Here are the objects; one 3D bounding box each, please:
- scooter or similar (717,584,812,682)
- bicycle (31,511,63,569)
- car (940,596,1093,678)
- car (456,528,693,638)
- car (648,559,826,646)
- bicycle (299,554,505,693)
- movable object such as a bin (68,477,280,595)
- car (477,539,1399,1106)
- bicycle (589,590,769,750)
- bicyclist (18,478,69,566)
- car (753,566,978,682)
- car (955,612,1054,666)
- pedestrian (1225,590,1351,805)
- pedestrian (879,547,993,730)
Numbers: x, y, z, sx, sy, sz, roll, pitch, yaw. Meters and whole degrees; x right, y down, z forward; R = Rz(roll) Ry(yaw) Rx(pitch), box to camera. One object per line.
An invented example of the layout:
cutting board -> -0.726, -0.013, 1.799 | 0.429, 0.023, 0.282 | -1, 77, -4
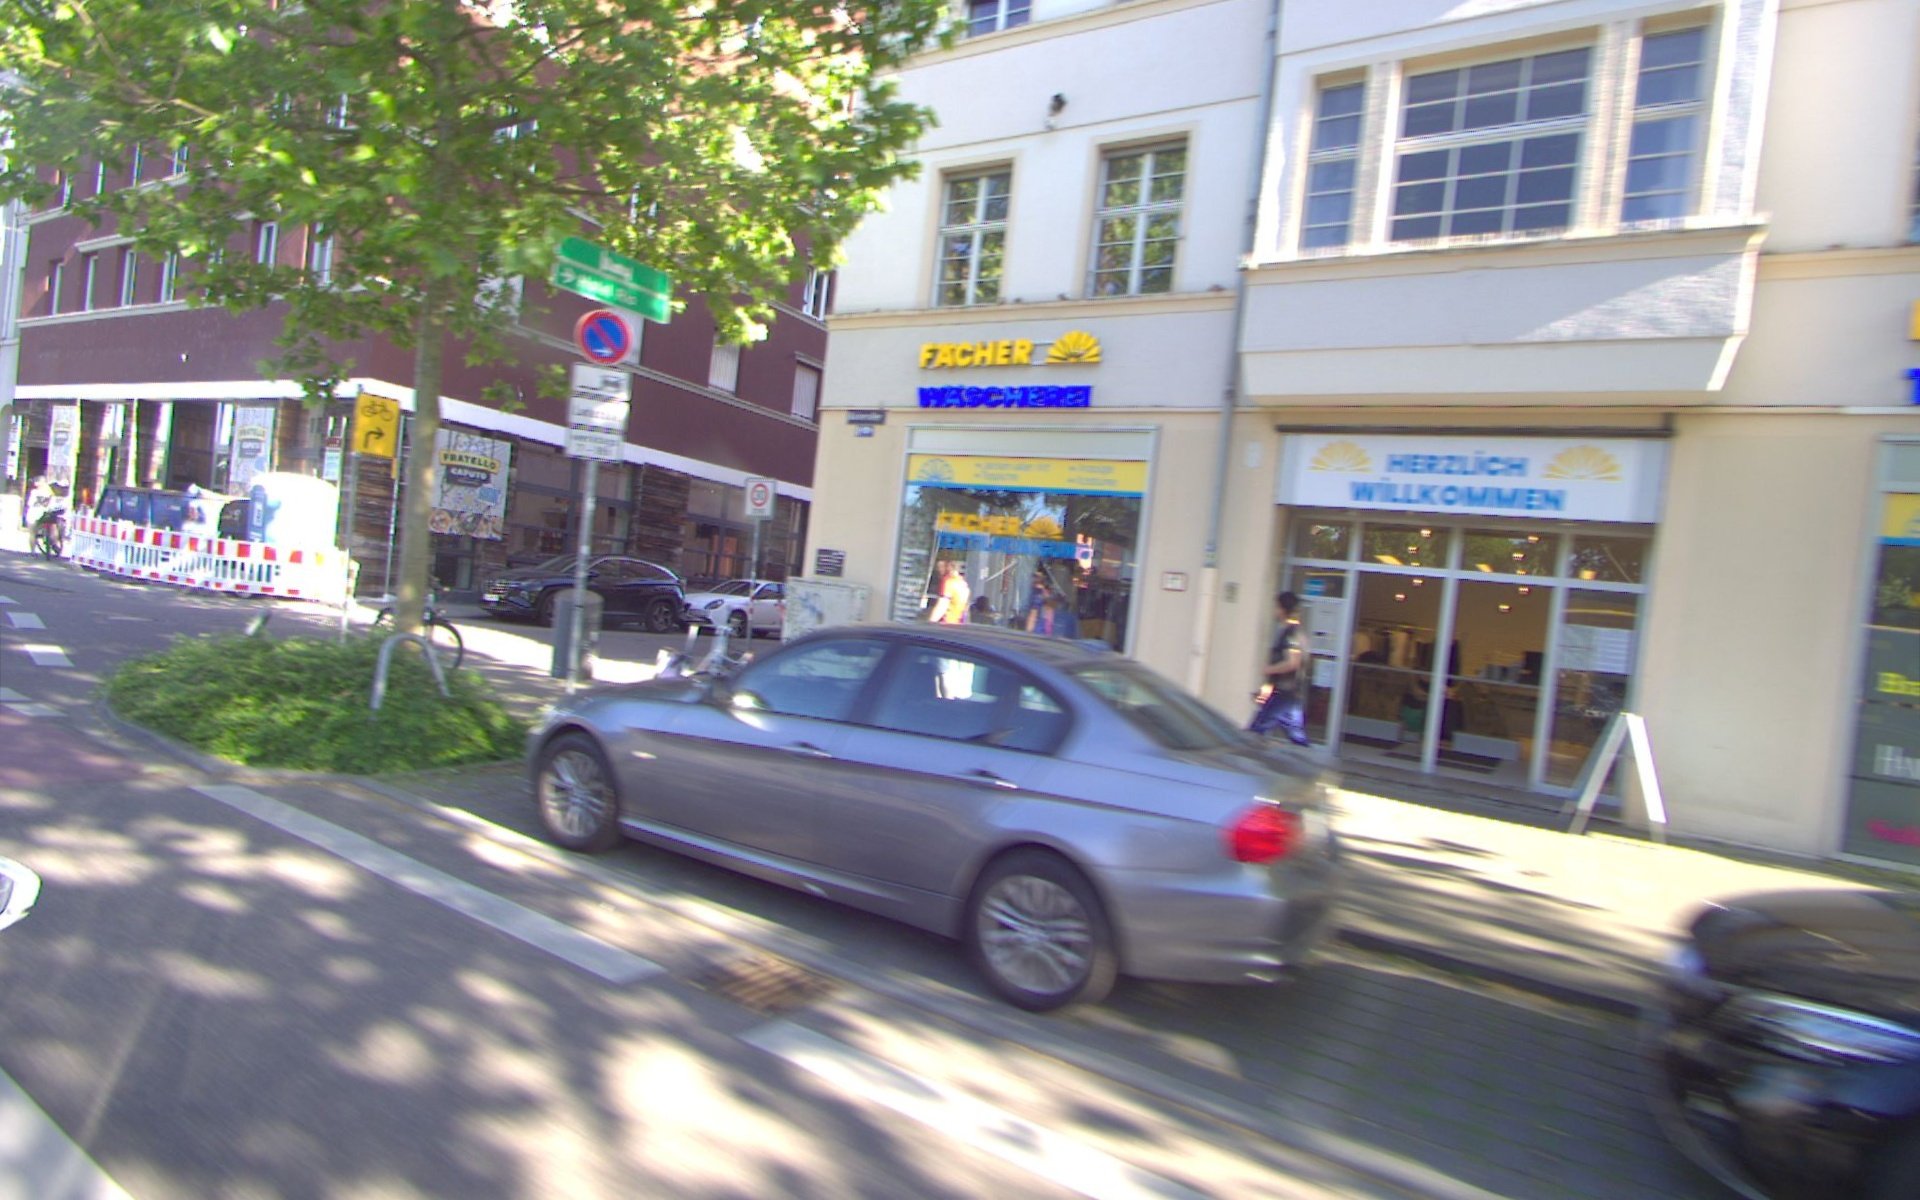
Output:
scooter or similar -> -2.924, 0.494, 15.081 | 1.184, 1.300, 0.382 | 7, -1, 1
bicycle -> -19.000, -1.263, 20.920 | 1.662, 1.099, 0.316 | 7, 1, 44
car -> 1.488, 0.966, 25.042 | 1.967, 1.547, 3.994 | 6, -2, 33
car -> -8.054, -0.293, 21.445 | 1.962, 1.809, 4.306 | 5, -2, 31
car -> -5.542, 0.117, 25.453 | 1.967, 1.678, 4.118 | 7, -1, 31
bicycle -> -5.895, 0.237, 10.596 | 2.197, 1.176, 0.582 | 7, -1, 24
movable object such as a bin -> -15.908, -1.292, 20.379 | 3.418, 1.867, 1.949 | 8, 1, 26
car -> -0.281, 0.743, 5.210 | 4.361, 1.573, 1.792 | 7, -1, 31
bicycle -> -2.477, 0.582, 8.771 | 1.665, 1.150, 0.487 | 7, 0, 37
bicyclist -> -19.004, -1.613, 20.859 | 0.589, 1.711, 0.600 | 7, 1, 42
car -> -1.707, 0.560, 19.871 | 1.967, 1.838, 4.530 | 7, -1, 31
car -> 1.735, 1.497, 37.979 | 1.966, 1.592, 3.995 | 7, -1, 31
pedestrian -> 2.882, 0.839, 8.839 | 0.757, 1.731, 0.559 | 7, 0, 31
pedestrian -> -0.262, 0.424, 11.337 | 0.849, 1.924, 0.714 | 7, 1, 31
